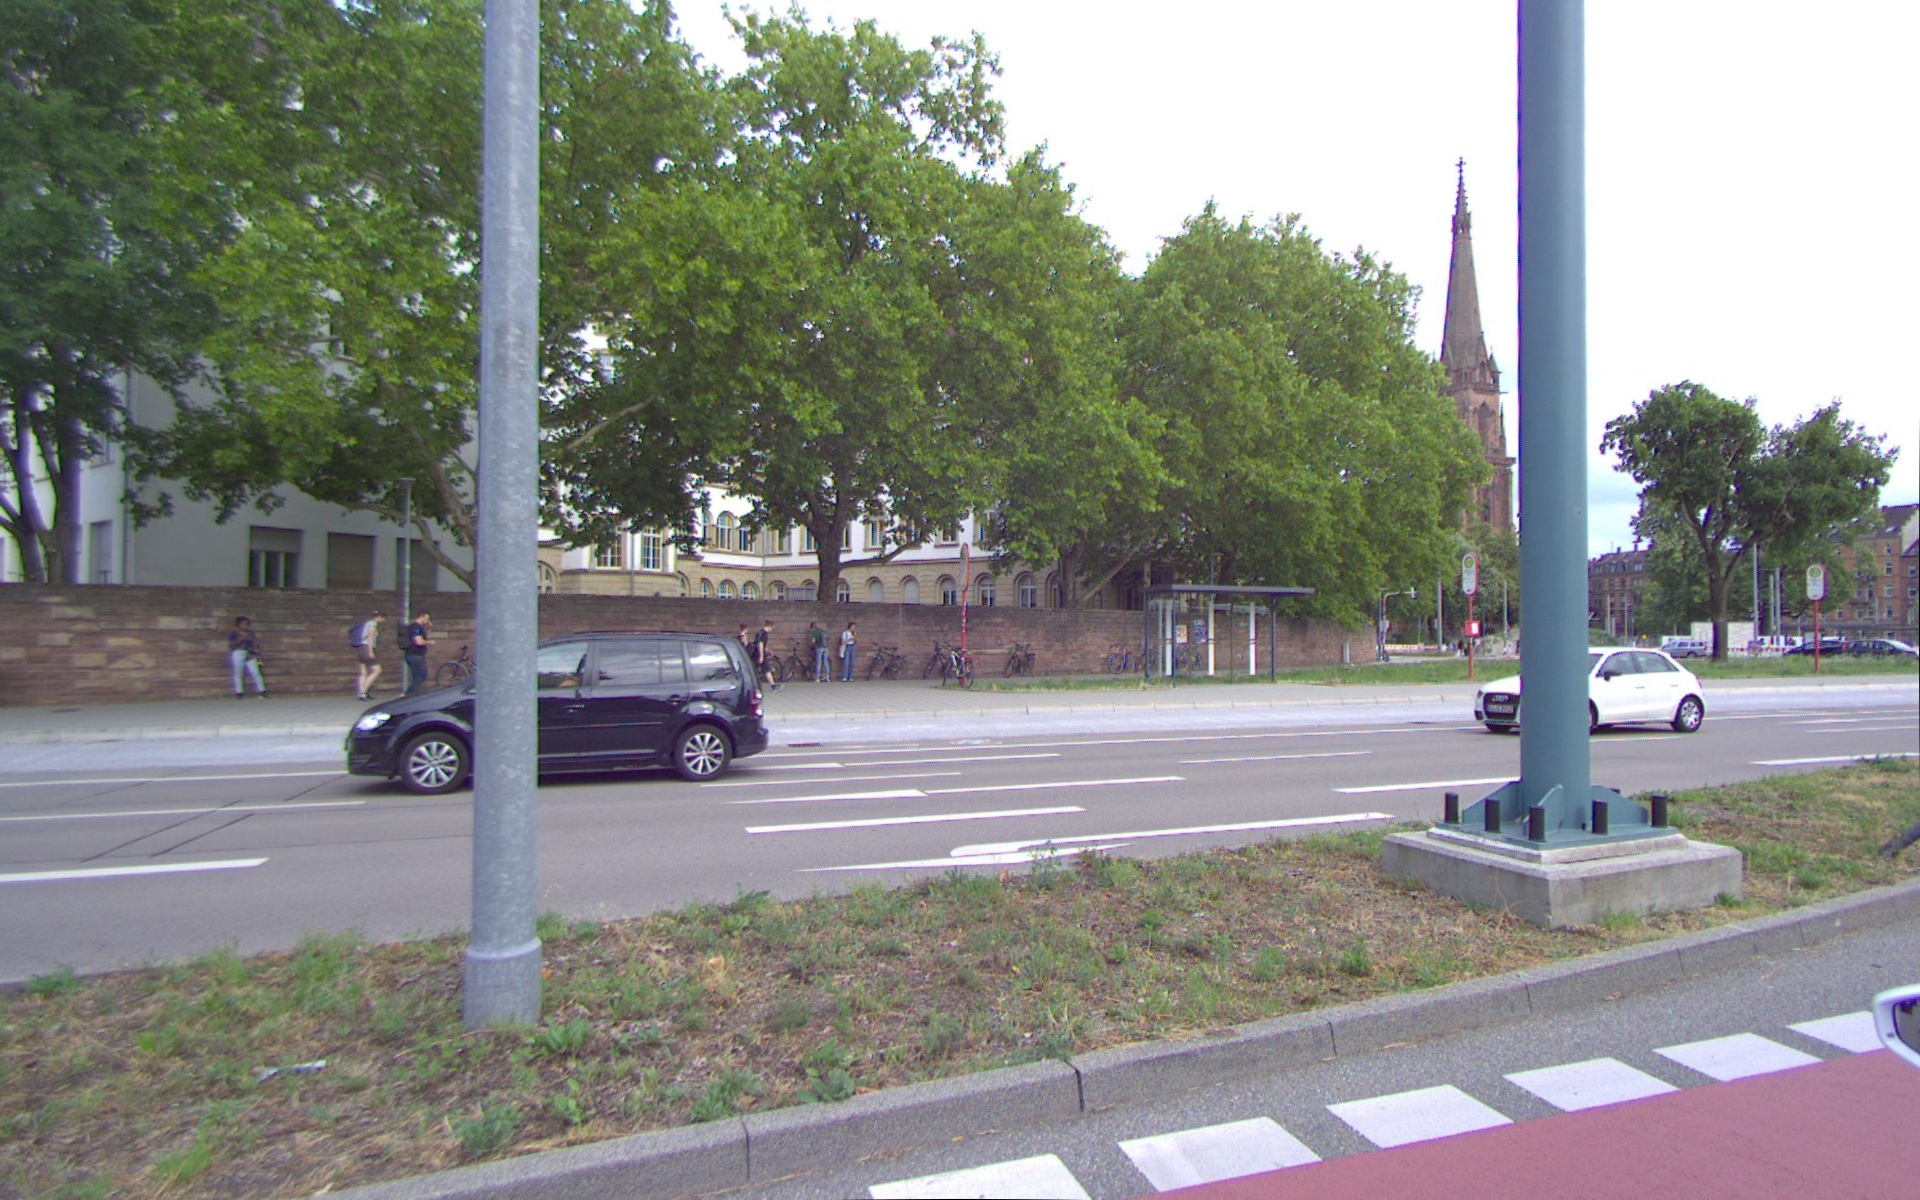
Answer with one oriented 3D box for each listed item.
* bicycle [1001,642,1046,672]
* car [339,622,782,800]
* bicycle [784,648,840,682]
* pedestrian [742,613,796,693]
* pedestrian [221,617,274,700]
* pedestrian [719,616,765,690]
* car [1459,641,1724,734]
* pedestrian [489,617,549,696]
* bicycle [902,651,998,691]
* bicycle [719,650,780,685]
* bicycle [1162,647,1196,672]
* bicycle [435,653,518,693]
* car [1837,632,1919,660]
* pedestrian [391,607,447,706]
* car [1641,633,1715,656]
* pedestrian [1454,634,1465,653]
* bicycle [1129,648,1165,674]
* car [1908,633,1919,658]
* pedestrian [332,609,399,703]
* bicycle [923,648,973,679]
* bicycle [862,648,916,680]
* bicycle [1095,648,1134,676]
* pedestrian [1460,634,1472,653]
[{"bbox_3d":[2.066,1.844,32.724,1.609,0.919,0.476,2,0,-43],"label":"bicycle"},{"bbox_3d":[-4.268,1.145,11.216,4.238,1.687,1.799,1,-4,-22],"label":"car"},{"bbox_3d":[-4.064,1.771,27.641,1.508,0.890,0.344,2,0,-38],"label":"bicycle"},{"bbox_3d":[-4.407,1.222,23.198,0.750,1.806,0.919,0,-3,42],"label":"pedestrian"},{"bbox_3d":[-14.181,1.162,19.999,0.730,1.613,0.581,3,-3,-42],"label":"pedestrian"},{"bbox_3d":[-5.380,1.302,24.821,0.750,1.806,0.780,0,-3,42],"label":"pedestrian"},{"bbox_3d":[10.484,1.412,16.723,3.862,1.407,1.669,1,-4,-20],"label":"car"},{"bbox_3d":[-9.705,1.242,22.117,0.750,1.693,0.919,0,-3,42],"label":"pedestrian"},{"bbox_3d":[-0.237,1.726,24.538,2.298,0.931,0.470,1,-1,-12],"label":"bicycle"},{"bbox_3d":[-5.539,1.771,26.473,1.541,0.890,0.413,2,0,-38],"label":"bicycle"},{"bbox_3d":[8.503,2.311,39.004,1.610,0.919,0.476,2,0,-44],"label":"bicycle"},{"bbox_3d":[-10.845,1.625,22.564,1.606,0.838,0.437,2,0,-38],"label":"bicycle"},{"bbox_3d":[52.637,2.597,57.198,1.562,1.413,3.753,1,0,-24],"label":"car"},{"bbox_3d":[-10.138,1.071,18.815,0.717,1.805,0.752,3,-5,-43],"label":"pedestrian"},{"bbox_3d":[51.788,3.192,72.530,1.624,1.671,4.142,1,-2,-25],"label":"car"},{"bbox_3d":[41.775,3.619,84.007,0.716,1.581,0.560,1,-2,-26],"label":"pedestrian"},{"bbox_3d":[7.032,2.267,37.659,1.610,0.919,0.476,2,0,-44],"label":"bicycle"},{"bbox_3d":[56.965,2.670,57.431,1.562,1.413,3.753,1,0,-24],"label":"car"},{"bbox_3d":[-11.869,1.109,20.051,0.750,1.806,0.910,0,-3,42],"label":"pedestrian"},{"bbox_3d":[-0.369,1.934,30.602,1.608,0.890,0.437,2,0,-41],"label":"bicycle"},{"bbox_3d":[-2.068,1.849,29.224,1.608,0.890,0.437,2,0,-41],"label":"bicycle"},{"bbox_3d":[5.544,2.220,36.056,1.610,0.919,0.476,2,0,-44],"label":"bicycle"},{"bbox_3d":[41.769,3.603,82.947,0.716,1.581,0.560,1,-2,-26],"label":"pedestrian"}]
